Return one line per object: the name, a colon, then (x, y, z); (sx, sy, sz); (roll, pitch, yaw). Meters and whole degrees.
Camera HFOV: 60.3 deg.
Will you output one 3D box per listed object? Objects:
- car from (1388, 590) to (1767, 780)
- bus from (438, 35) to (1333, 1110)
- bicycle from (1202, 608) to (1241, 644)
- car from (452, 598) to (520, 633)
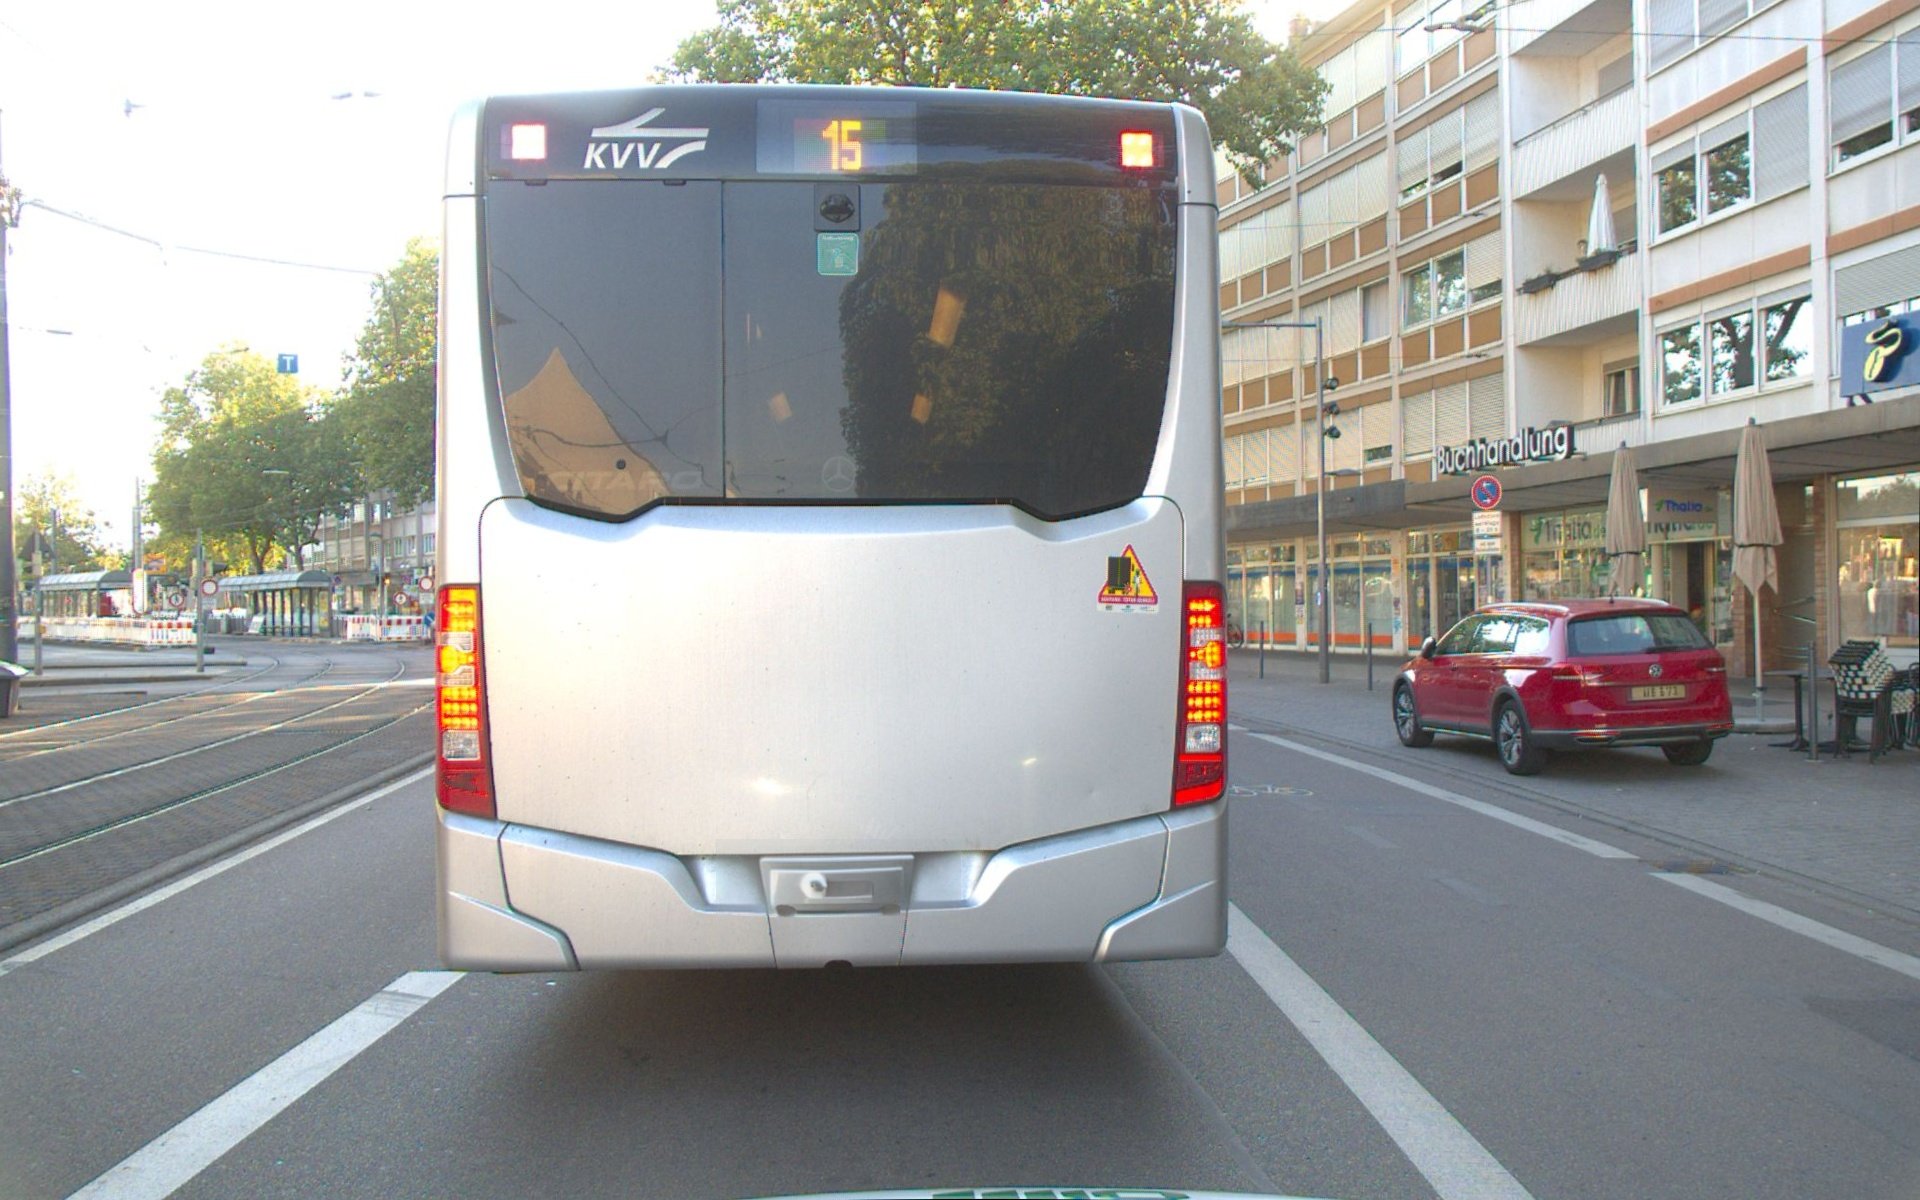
car: (5.712, 0.704, 15.928); (1.735, 1.508, 4.299); (-2, 0, -4)
bus: (-0.411, -0.063, 9.799); (2.578, 3.081, 9.992); (0, 0, -3)
bicycle: (7.217, 0.716, 45.697); (0.406, 0.961, 1.431); (-1, 0, -20)
car: (-25.087, 0.816, 87.494); (1.982, 1.823, 3.940); (1, -1, -41)
